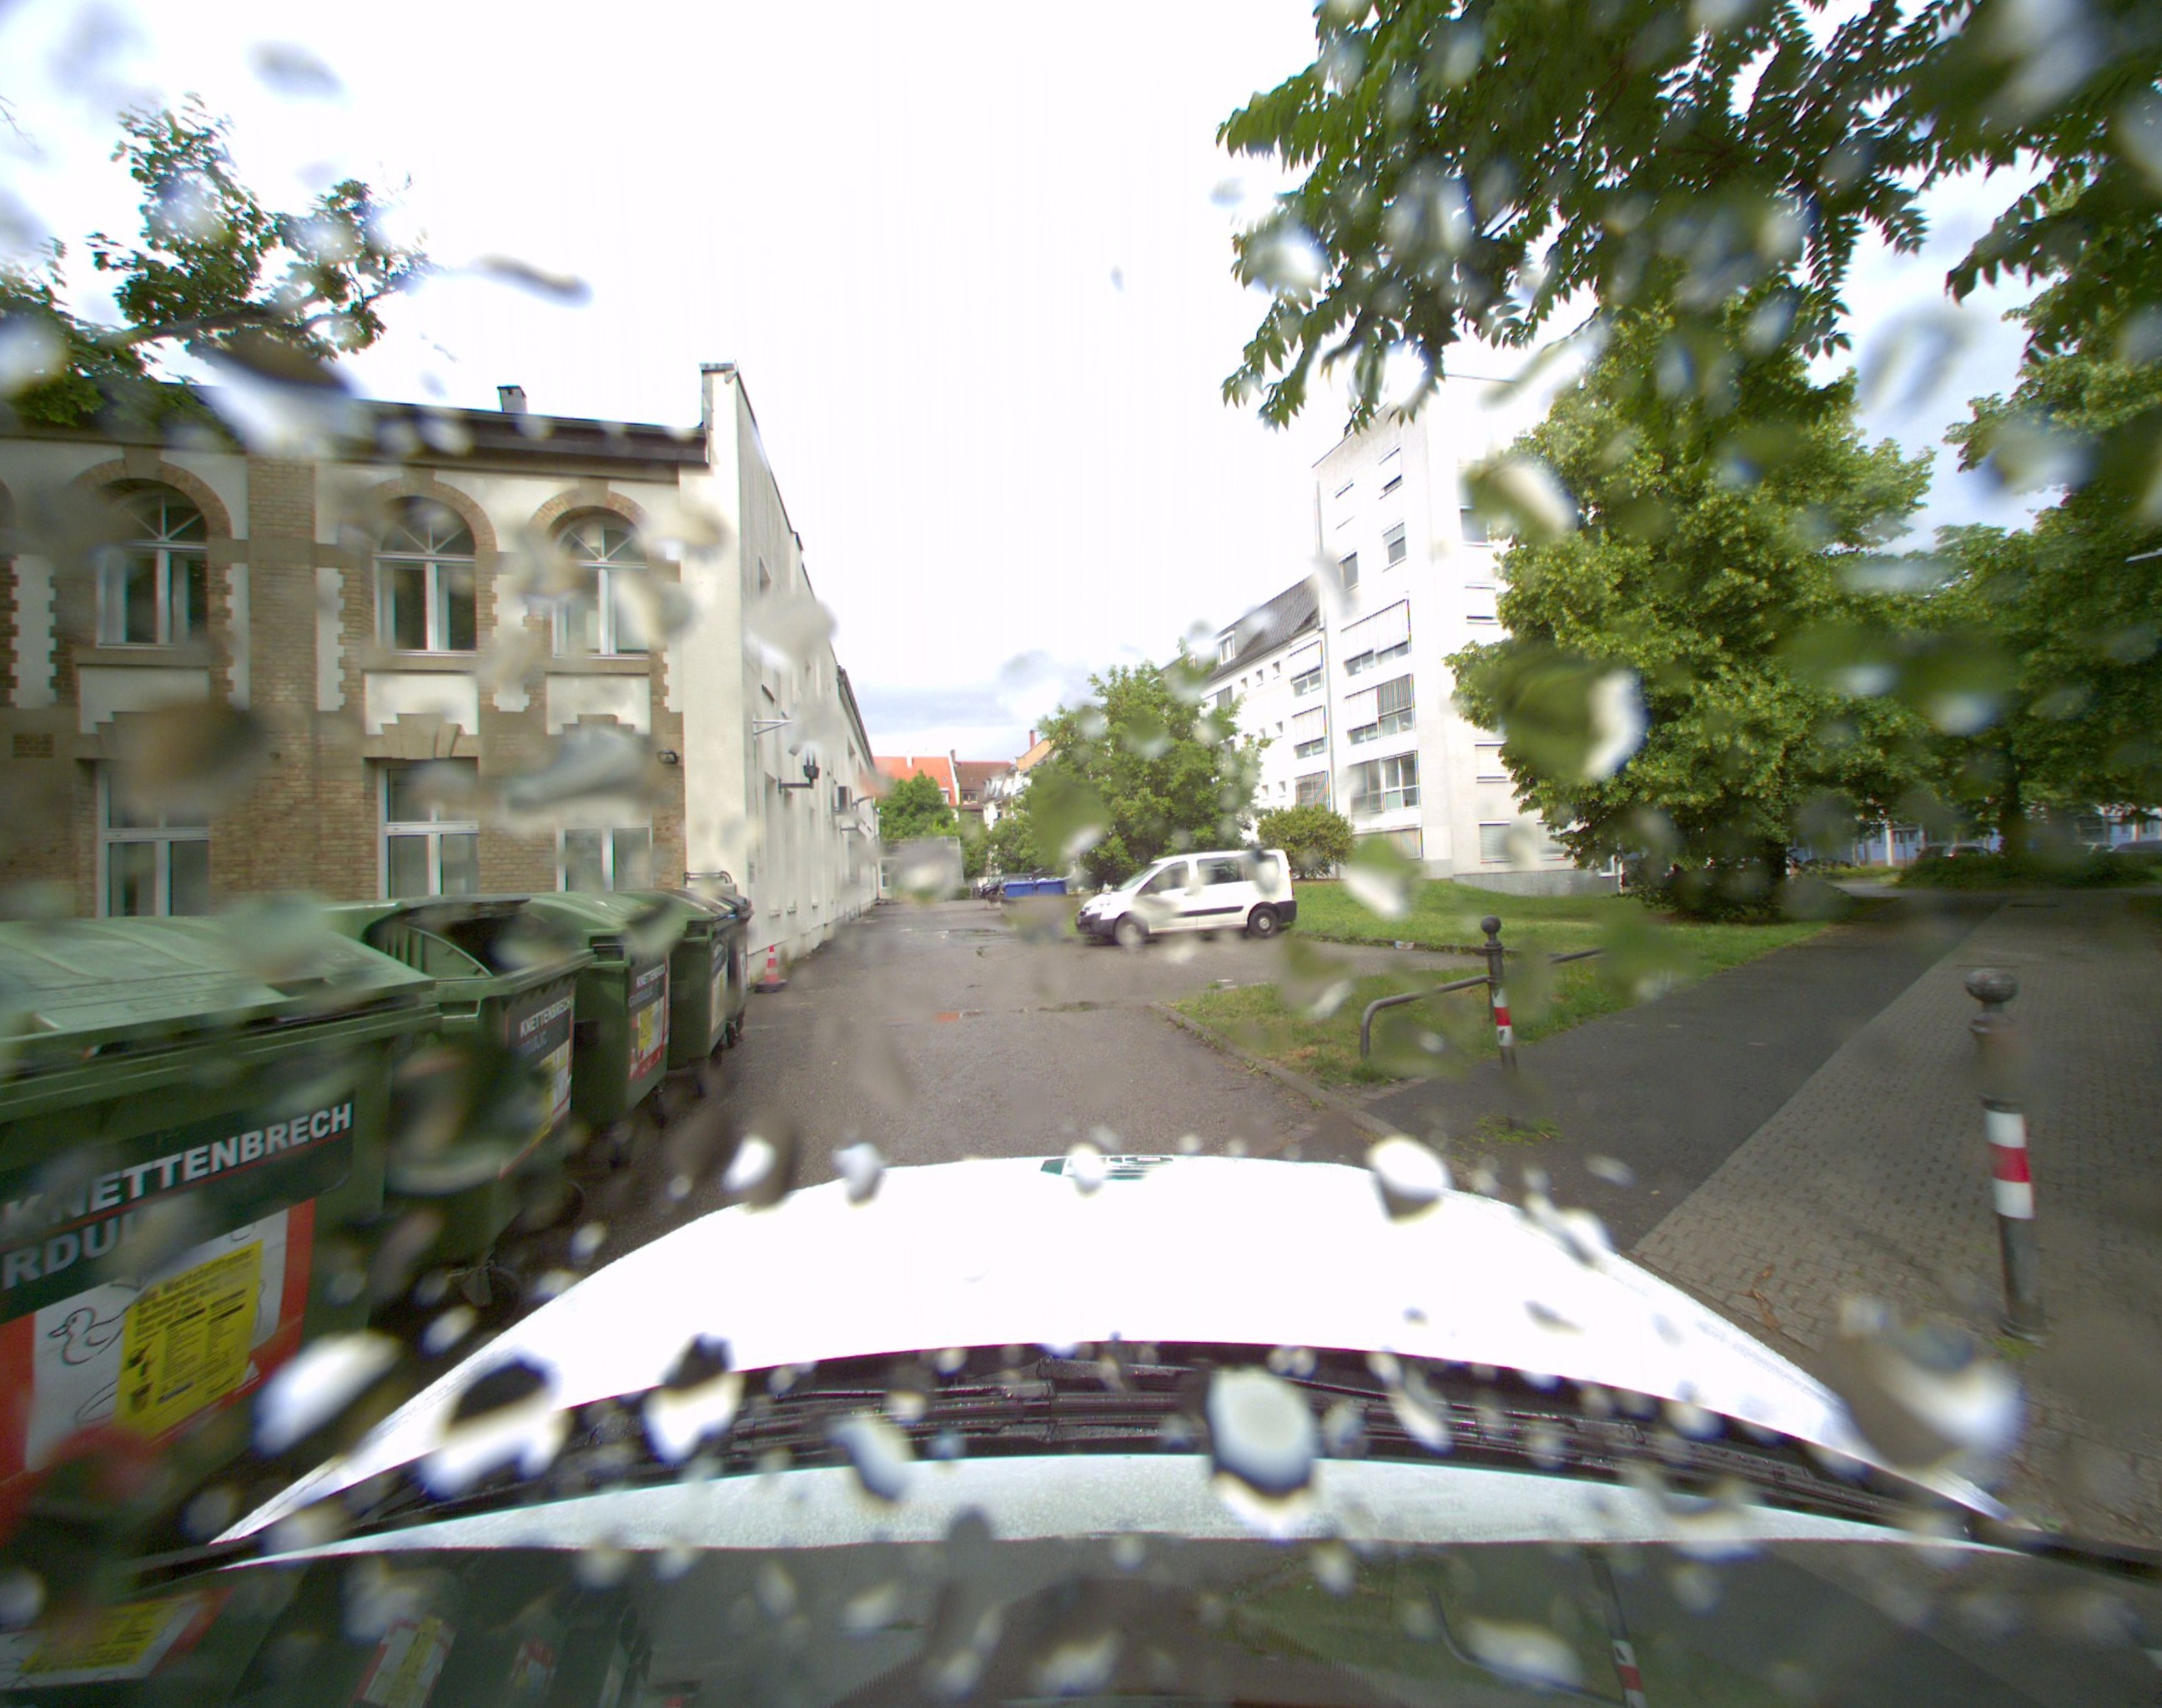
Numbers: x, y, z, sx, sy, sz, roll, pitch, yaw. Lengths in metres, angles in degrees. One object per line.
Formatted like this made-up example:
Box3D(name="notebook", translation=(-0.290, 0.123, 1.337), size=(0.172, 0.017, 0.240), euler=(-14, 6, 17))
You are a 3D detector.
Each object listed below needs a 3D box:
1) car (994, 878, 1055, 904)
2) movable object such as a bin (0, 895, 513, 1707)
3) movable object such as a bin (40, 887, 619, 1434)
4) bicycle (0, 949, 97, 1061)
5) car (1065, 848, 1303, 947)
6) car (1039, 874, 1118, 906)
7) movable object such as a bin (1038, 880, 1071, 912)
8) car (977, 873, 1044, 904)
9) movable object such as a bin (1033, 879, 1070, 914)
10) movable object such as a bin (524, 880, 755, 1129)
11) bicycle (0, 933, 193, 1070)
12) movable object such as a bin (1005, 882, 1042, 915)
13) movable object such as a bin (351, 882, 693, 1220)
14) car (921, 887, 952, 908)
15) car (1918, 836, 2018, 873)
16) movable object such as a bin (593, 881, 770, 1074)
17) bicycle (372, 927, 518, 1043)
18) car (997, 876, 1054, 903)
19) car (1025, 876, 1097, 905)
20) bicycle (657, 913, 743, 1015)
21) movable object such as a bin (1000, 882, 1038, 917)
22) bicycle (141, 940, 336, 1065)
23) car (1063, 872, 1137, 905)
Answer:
Box3D(name="car", translation=(-4.019, 2.627, 57.685), size=(3.920, 1.514, 1.741), euler=(-3, -2, -18))
Box3D(name="movable object such as a bin", translation=(-2.258, 0.853, 1.711), size=(1.098, 1.473, 1.484), euler=(-2, -2, -2))
Box3D(name="movable object such as a bin", translation=(-2.643, 0.912, 3.192), size=(1.168, 1.483, 1.394), euler=(-2, 0, -19))
Box3D(name="bicycle", translation=(-11.732, 1.646, 8.612), size=(0.616, 1.116, 1.918), euler=(-3, -2, -12))
Box3D(name="car", translation=(2.234, 0.948, 18.367), size=(4.875, 1.926, 2.091), euler=(-2, -3, -11))
Box3D(name="car", translation=(-0.136, 1.974, 45.263), size=(3.995, 1.445, 1.796), euler=(-4, -2, -16))
Box3D(name="movable object such as a bin", translation=(-1.137, 1.818, 35.187), size=(1.186, 1.304, 1.102), euler=(-3, -2, -12))
Box3D(name="car", translation=(-5.505, 2.666, 63.529), size=(4.656, 2.003, 2.208), euler=(-3, -1, -23))
Box3D(name="movable object such as a bin", translation=(-1.235, 1.741, 33.396), size=(1.293, 1.336, 1.192), euler=(-3, -2, -11))
Box3D(name="movable object such as a bin", translation=(-3.149, 0.990, 6.038), size=(1.167, 1.483, 1.488), euler=(-3, -2, -18))
Box3D(name="bicycle", translation=(-10.834, 1.540, 8.822), size=(0.616, 1.224, 1.918), euler=(-3, -2, -12))
Box3D(name="movable object such as a bin", translation=(-2.461, 1.899, 34.721), size=(1.372, 1.304, 1.079), euler=(-3, -2, -11))
Box3D(name="movable object such as a bin", translation=(-2.963, 0.927, 4.568), size=(1.167, 1.483, 1.395), euler=(-2, -1, -17))
Box3D(name="car", translation=(-11.021, 3.275, 61.808), size=(1.982, 1.444, 3.980), euler=(-2, -2, -14))
Box3D(name="car", translation=(49.220, 0.020, 45.205), size=(4.228, 1.790, 1.990), euler=(-3, 0, -15))
Box3D(name="movable object such as a bin", translation=(-3.605, 1.041, 7.550), size=(1.167, 1.483, 1.585), euler=(-3, -2, -18))
Box3D(name="bicycle", translation=(-7.471, 1.487, 9.667), size=(0.616, 1.116, 1.780), euler=(-3, -2, -12))
Box3D(name="car", translation=(-4.202, 2.638, 61.006), size=(3.915, 1.687, 1.808), euler=(-4, -2, -14))
Box3D(name="car", translation=(-1.245, 2.252, 50.278), size=(3.998, 1.458, 1.762), euler=(-3, -2, -18))
Box3D(name="bicycle", translation=(-4.792, 1.348, 10.343), size=(0.616, 1.116, 1.513), euler=(-3, -2, -12))
Box3D(name="movable object such as a bin", translation=(-2.529, 1.824, 33.040), size=(1.338, 1.292, 1.091), euler=(-3, -1, -11))
Box3D(name="bicycle", translation=(-9.401, 1.602, 9.188), size=(0.616, 1.116, 1.780), euler=(-3, -2, -12))
Box3D(name="car", translation=(0.965, 1.816, 42.465), size=(3.422, 1.427, 1.679), euler=(-4, -2, -15))
